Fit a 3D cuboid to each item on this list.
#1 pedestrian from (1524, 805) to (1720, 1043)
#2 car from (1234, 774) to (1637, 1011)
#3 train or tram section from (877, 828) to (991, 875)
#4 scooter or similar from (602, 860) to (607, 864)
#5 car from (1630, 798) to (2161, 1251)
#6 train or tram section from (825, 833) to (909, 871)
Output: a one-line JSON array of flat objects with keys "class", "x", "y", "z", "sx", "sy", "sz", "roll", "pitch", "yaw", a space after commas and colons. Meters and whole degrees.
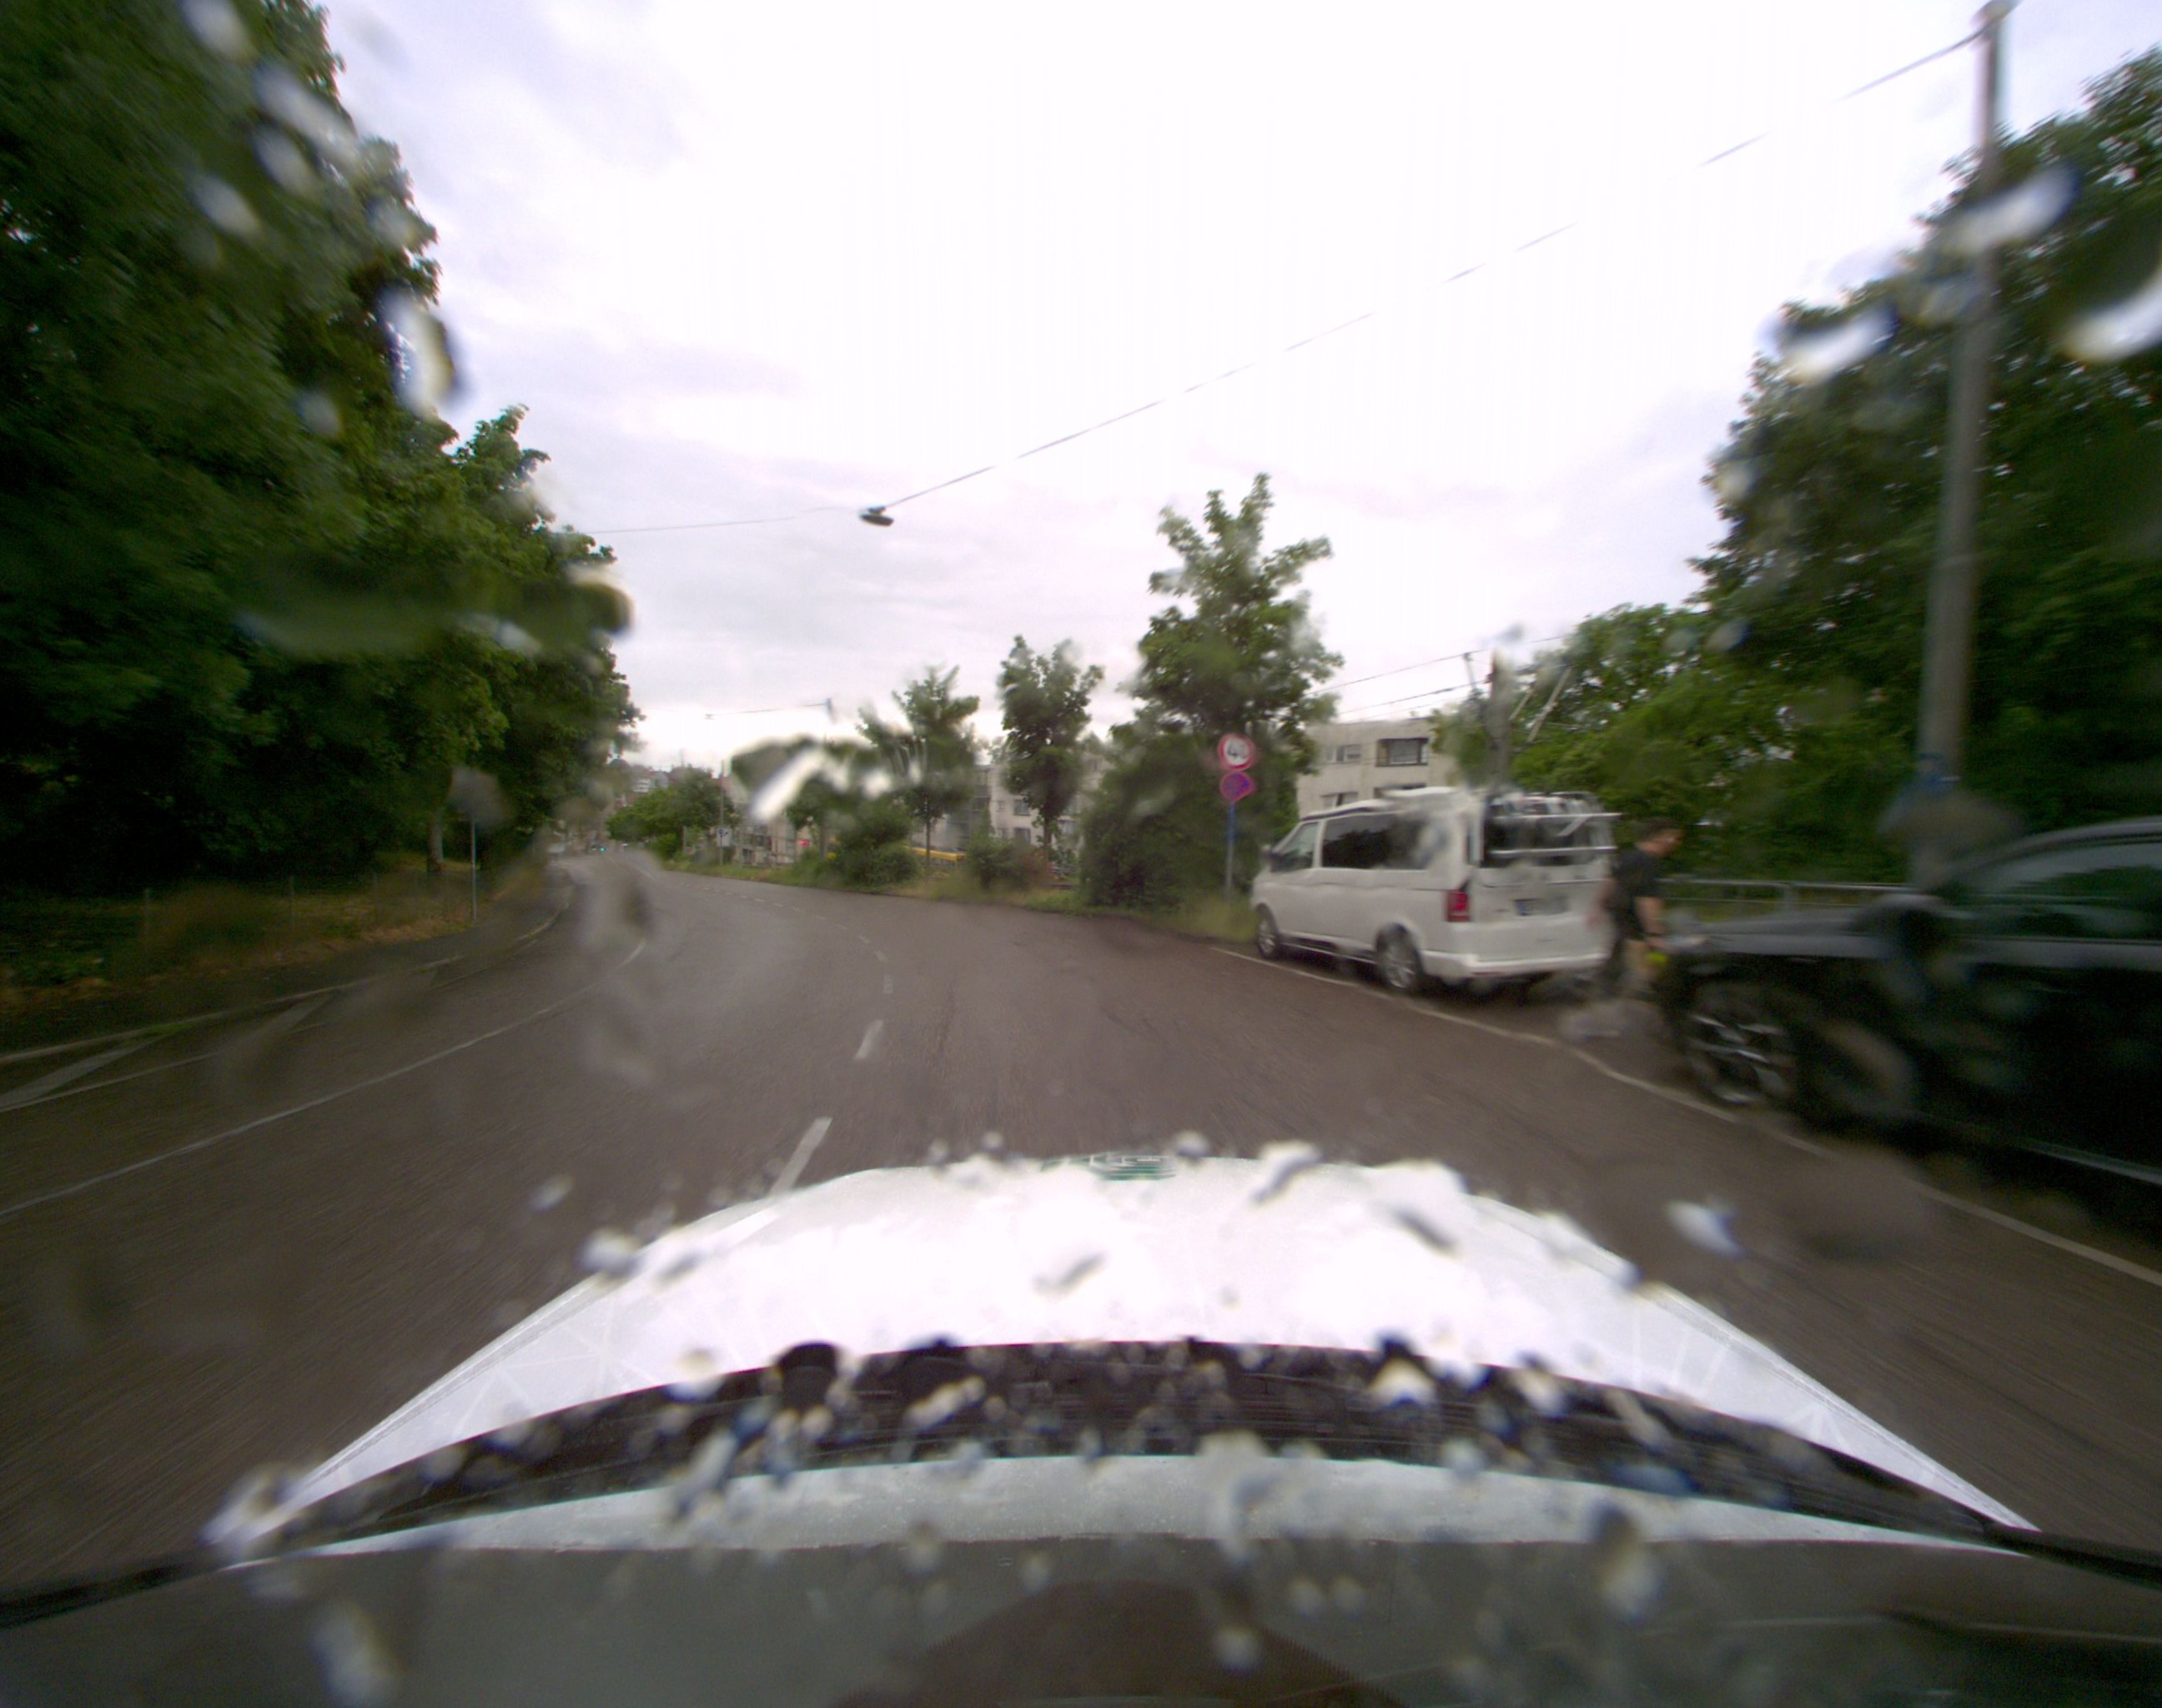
[{"class": "pedestrian", "x": 4.105, "y": 0.491, "z": 6.243, "sx": 0.921, "sy": 1.661, "sz": 0.803, "roll": -2, "pitch": 1, "yaw": -7}, {"class": "car", "x": 3.632, "y": 0.313, "z": 9.512, "sx": 1.879, "sy": 2.013, "sz": 4.670, "roll": -2, "pitch": 0, "yaw": -13}, {"class": "train or tram section", "x": -14.391, "y": -0.194, "z": 76.993, "sx": 3.354, "sy": 3.947, "sz": 19.078, "roll": 0, "pitch": 0, "yaw": -34}, {"class": "scooter or similar", "x": -95.746, "y": 1.638, "z": 163.651, "sx": 0.484, "sy": 0.761, "sz": 1.327, "roll": -1, "pitch": 0, "yaw": -5}, {"class": "car", "x": 4.528, "y": 0.562, "z": 3.044, "sx": 1.716, "sy": 1.556, "sz": 4.267, "roll": -2, "pitch": 0, "yaw": -7}, {"class": "train or tram section", "x": -24.601, "y": -0.201, "z": 92.342, "sx": 3.354, "sy": 3.947, "sz": 18.615, "roll": 0, "pitch": 0, "yaw": -34}]
